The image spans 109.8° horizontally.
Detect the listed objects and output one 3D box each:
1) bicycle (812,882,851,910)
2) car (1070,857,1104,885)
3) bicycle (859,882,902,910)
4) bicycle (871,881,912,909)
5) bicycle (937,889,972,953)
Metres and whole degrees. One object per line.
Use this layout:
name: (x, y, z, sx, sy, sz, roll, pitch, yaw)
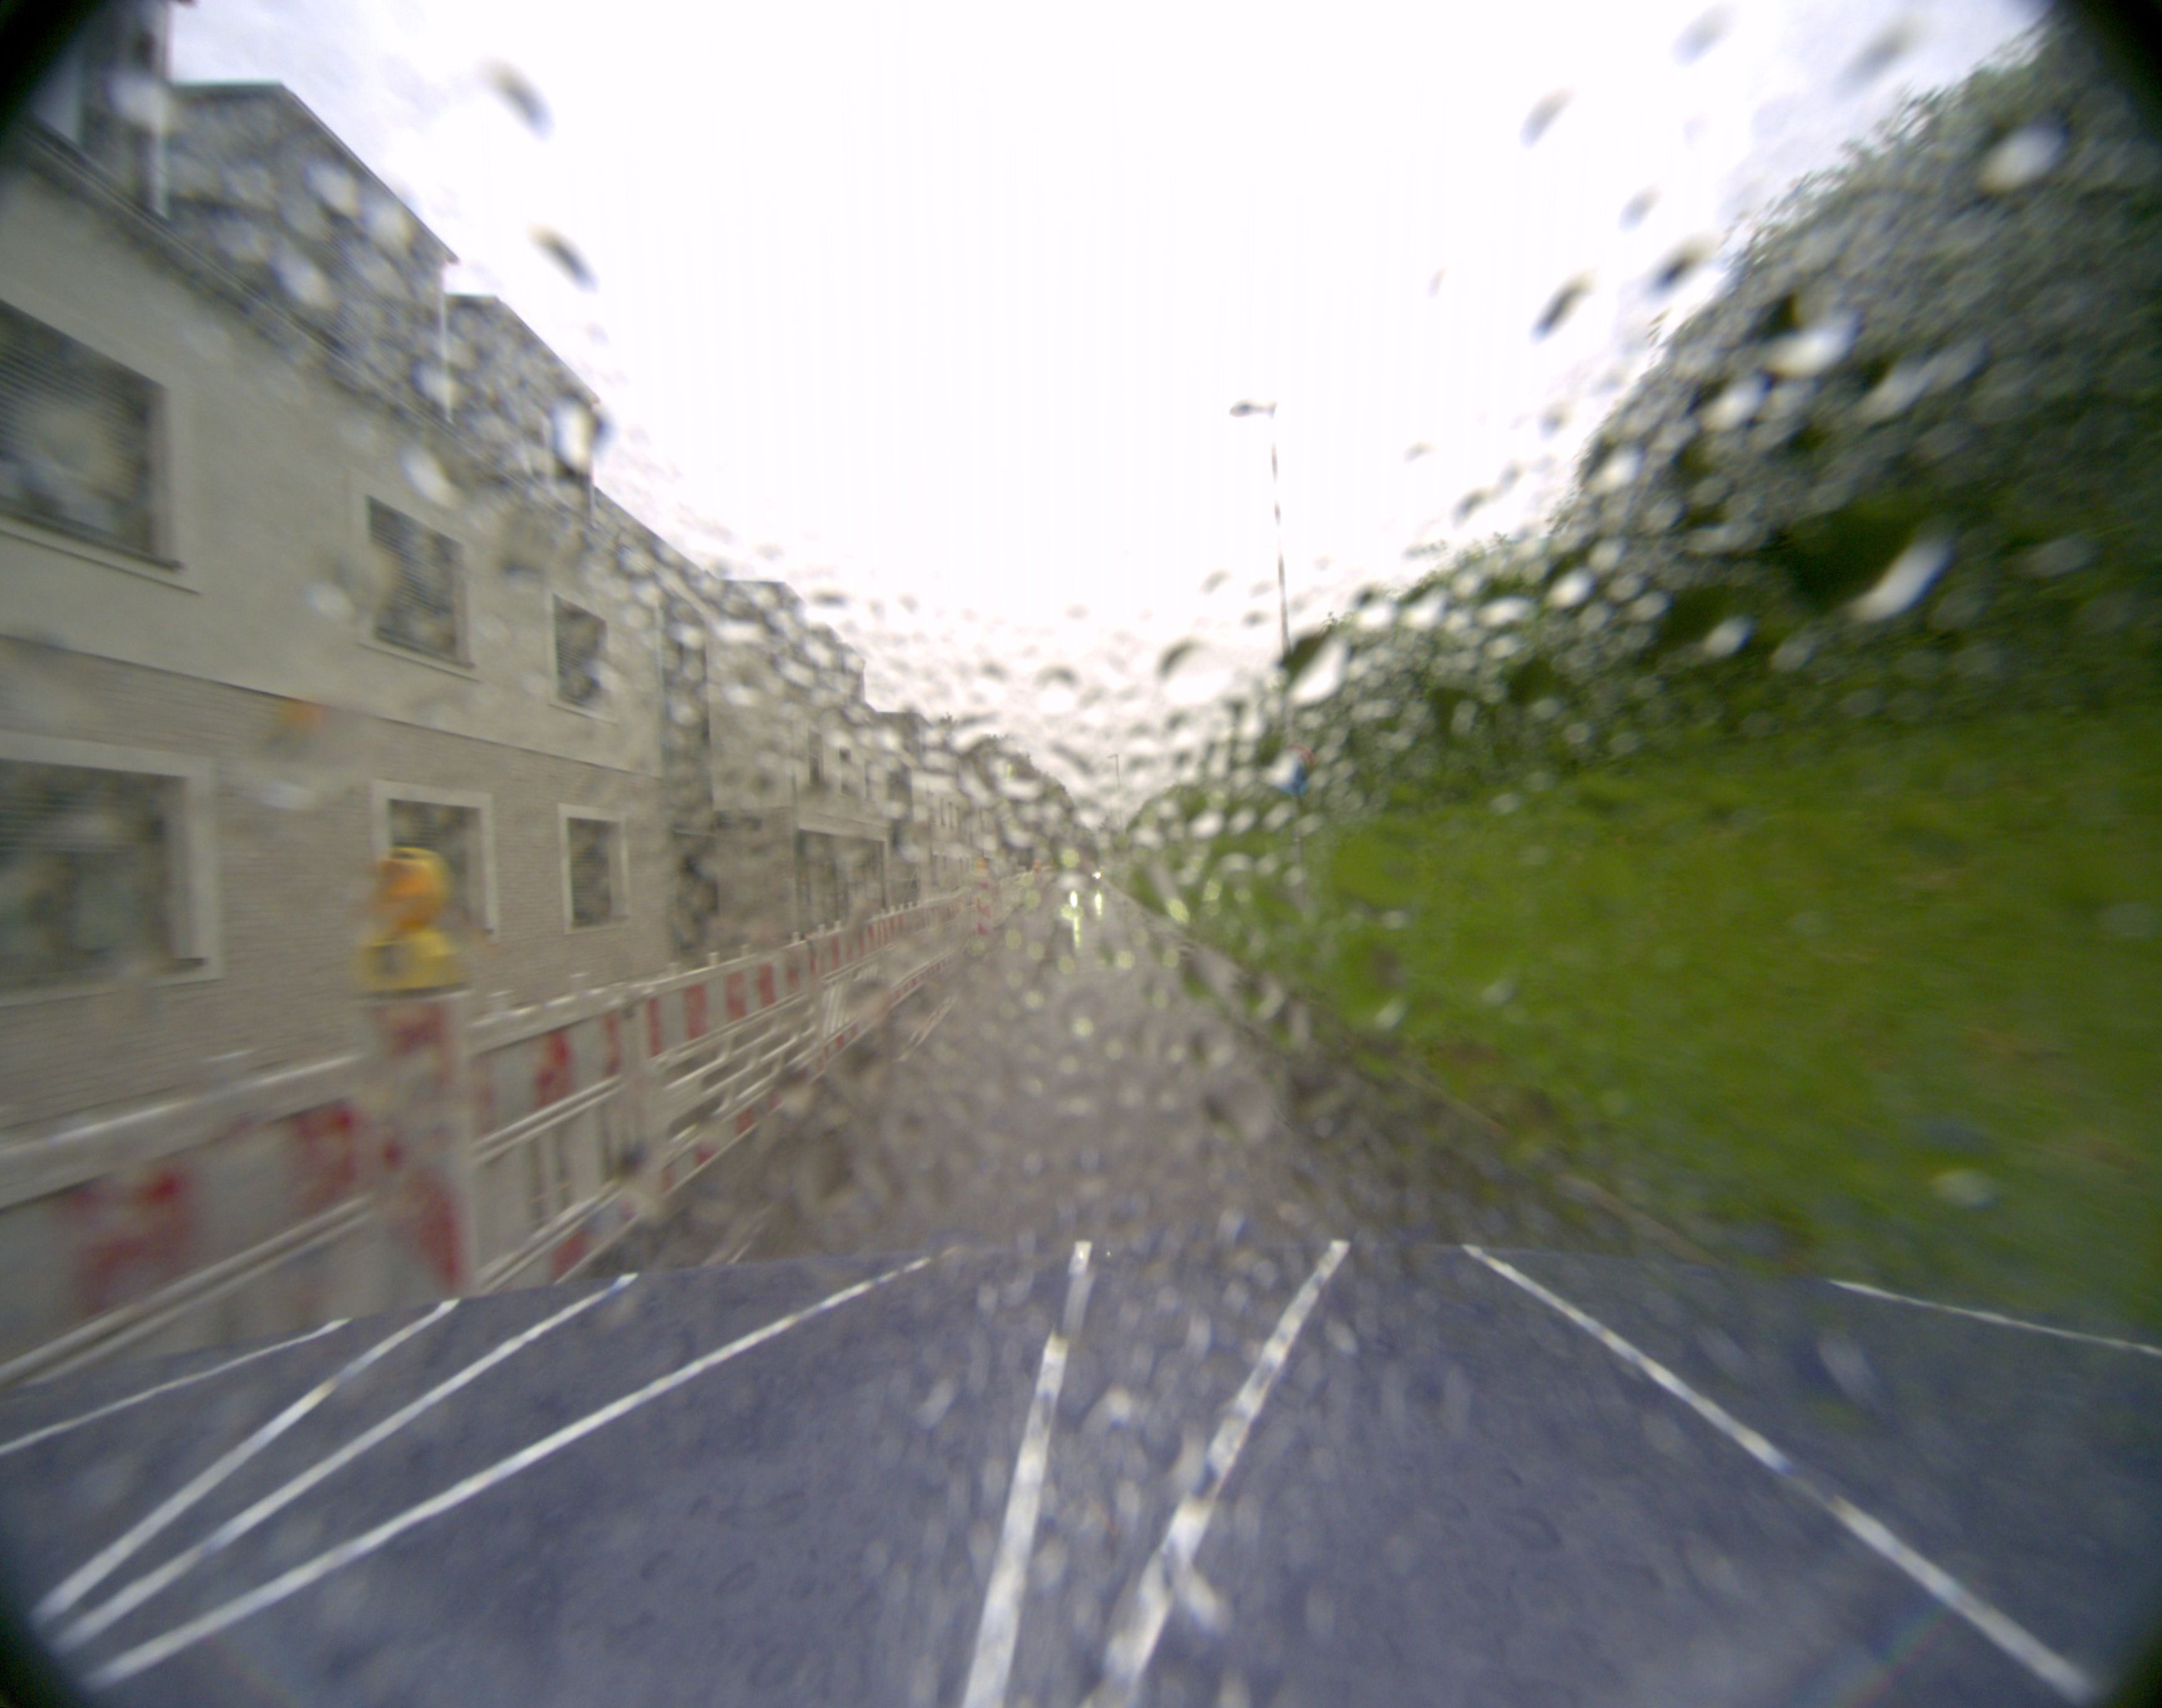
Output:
bicycle: (-10.730, 1.789, 32.733, 0.488, 1.071, 1.537, -2, 1, 39)
car: (0.337, 0.967, 45.380, 1.851, 1.444, 4.531, -2, 0, 0)
bicycle: (-7.965, 1.671, 30.161, 1.533, 1.047, 0.450, -2, 1, 1)
bicycle: (-7.732, 1.661, 30.992, 1.535, 1.047, 0.449, -2, 1, -18)
bicycle: (-2.476, 1.291, 14.933, 0.407, 1.137, 1.221, -2, 1, 2)
